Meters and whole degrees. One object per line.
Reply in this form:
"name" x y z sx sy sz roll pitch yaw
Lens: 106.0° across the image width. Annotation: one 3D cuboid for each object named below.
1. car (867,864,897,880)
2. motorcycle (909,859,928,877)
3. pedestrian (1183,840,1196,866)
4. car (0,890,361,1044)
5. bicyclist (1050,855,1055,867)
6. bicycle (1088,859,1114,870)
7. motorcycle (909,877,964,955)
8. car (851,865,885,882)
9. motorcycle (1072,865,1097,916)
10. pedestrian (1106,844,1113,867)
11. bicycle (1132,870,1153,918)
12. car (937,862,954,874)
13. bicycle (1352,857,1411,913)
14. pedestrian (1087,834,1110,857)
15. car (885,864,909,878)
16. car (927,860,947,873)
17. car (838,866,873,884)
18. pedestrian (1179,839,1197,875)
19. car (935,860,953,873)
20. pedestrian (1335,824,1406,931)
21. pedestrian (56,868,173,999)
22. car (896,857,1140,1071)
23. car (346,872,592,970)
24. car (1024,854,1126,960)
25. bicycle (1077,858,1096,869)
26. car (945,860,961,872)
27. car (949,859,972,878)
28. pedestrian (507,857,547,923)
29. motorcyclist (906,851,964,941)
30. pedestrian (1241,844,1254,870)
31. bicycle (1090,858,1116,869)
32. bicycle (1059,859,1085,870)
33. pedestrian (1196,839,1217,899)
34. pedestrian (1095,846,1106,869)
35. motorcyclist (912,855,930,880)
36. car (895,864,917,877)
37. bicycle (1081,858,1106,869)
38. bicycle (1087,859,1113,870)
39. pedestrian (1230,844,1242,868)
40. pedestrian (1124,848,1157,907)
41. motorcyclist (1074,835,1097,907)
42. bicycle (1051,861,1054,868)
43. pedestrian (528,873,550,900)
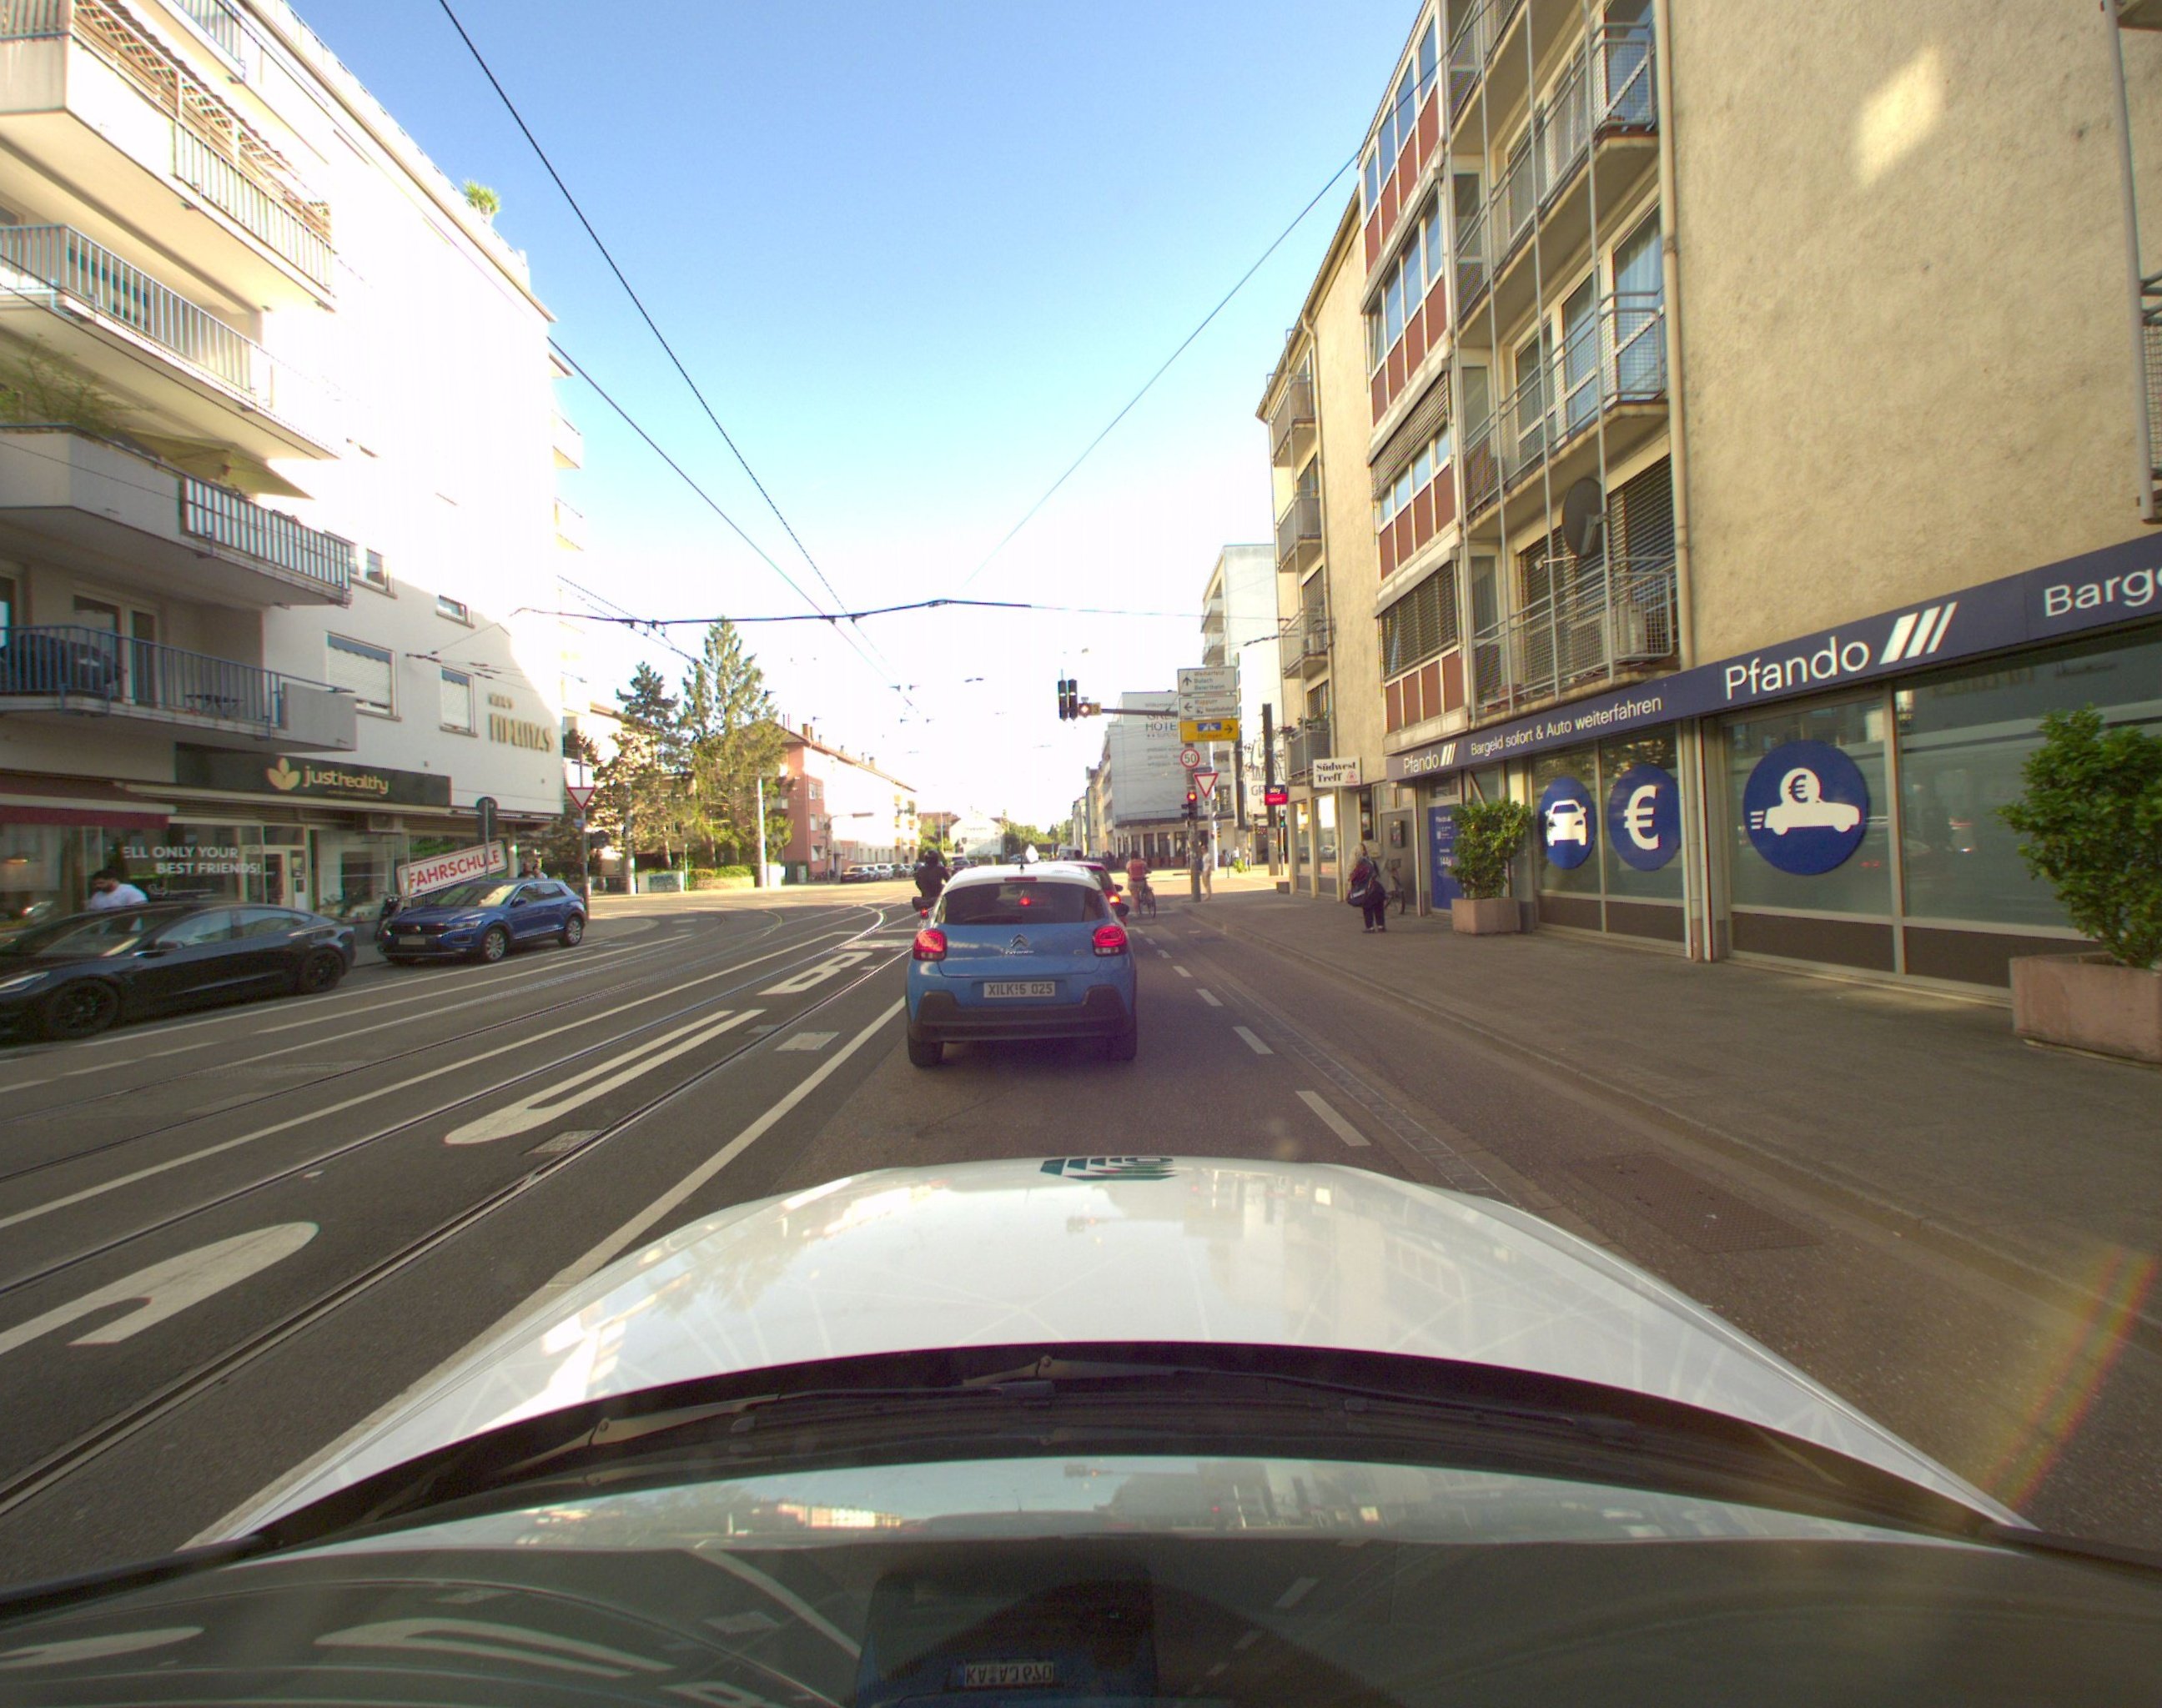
"car" -19.444 1.744 79.770 1.781 1.511 4.150 0 -1 1
"motorcycle" -13.419 1.137 67.337 0.921 1.486 3.724 0 -1 -1
"pedestrian" 8.579 -0.056 64.419 0.750 2.014 0.716 -1 -1 33
"car" -12.097 1.296 10.441 1.816 1.387 4.425 -2 0 -2
"bicyclist" -3.766 0.926 108.139 0.559 1.477 0.747 0 -1 -2
"bicycle" 1.652 0.868 67.169 2.130 0.901 0.366 0 -1 -7
"motorcycle" -2.486 1.030 14.181 0.535 1.219 1.982 0 -1 2
"car" -19.388 1.787 74.318 1.808 1.498 4.302 0 0 2
"motorcycle" 0.107 0.838 19.554 0.524 1.139 2.290 0 -1 2
"pedestrian" 2.480 0.147 70.412 0.575 2.014 0.625 0 -1 -1
"bicycle" 1.546 0.978 20.571 0.426 1.123 1.999 0 -1 2
"car" -19.559 1.996 117.294 1.828 1.687 3.998 0 -1 -1
"bicycle" 5.680 0.570 15.494 0.540 0.998 1.706 0 -1 2
"pedestrian" 1.634 -0.725 73.687 1.986 2.014 4.001 0 -1 2
"car" -19.555 1.775 86.727 1.781 1.498 3.998 0 -1 -1
"car" -18.885 1.681 107.256 1.978 1.687 3.998 0 -1 -1
"car" -19.206 1.783 69.428 1.787 1.421 3.996 0 -1 1
"pedestrian" 6.154 0.174 46.928 0.922 2.014 0.760 0 -1 1
"car" -18.857 1.685 112.039 1.877 1.687 3.998 0 -1 -1
"pedestrian" 4.446 0.349 12.547 0.822 1.593 0.751 0 -1 1
"pedestrian" -13.869 1.106 11.708 0.689 1.803 0.812 0 -1 1
"car" -0.373 0.763 7.290 1.648 1.444 3.524 0 -1 2
"car" -11.905 1.212 16.264 1.864 1.531 4.068 -2 0 -2
"car" -0.040 0.781 13.215 1.419 1.467 2.925 -2 -1 2
"bicycle" 0.442 0.824 69.570 1.765 0.901 0.369 -1 -1 36
"car" -19.155 1.767 121.919 1.841 1.687 3.872 0 -1 -1
"car" -11.350 1.345 76.909 1.770 1.666 3.854 0 -1 -2
"pedestrian" -17.298 1.103 25.445 0.767 2.014 0.694 0 -1 -4
"motorcyclist" -2.505 0.714 14.008 0.857 1.505 0.598 0 -1 1
"pedestrian" 10.876 0.192 53.165 0.746 1.657 0.887 -1 -1 15
"bicycle" 1.789 0.773 66.042 2.130 0.901 0.366 0 -1 -7
"bicycle" -0.713 0.880 66.440 2.130 0.901 0.366 0 -1 -7
"pedestrian" 3.757 0.443 24.386 0.515 1.783 0.595 0 -1 0
"pedestrian" 1.663 0.300 69.319 0.635 2.014 0.717 0 -1 -34
"motorcyclist" -13.336 1.104 67.803 1.182 2.013 1.275 -2 0 -1
"car" -19.943 1.853 92.843 1.728 1.498 3.996 0 -1 -2
"bicycle" 1.056 0.822 68.456 2.130 0.901 0.366 0 -1 -7
"bicycle" 1.609 0.860 67.573 2.130 0.901 0.366 0 -1 -7
"pedestrian" 10.563 0.138 55.450 0.730 1.601 0.751 -1 -1 15
"pedestrian" 1.473 0.582 20.342 0.774 1.460 0.682 0 -1 1
"motorcyclist" 0.114 0.405 19.746 0.524 1.716 0.717 0 -1 2
"bicycle" -3.776 1.344 108.621 0.347 0.903 1.859 0 -1 0
"pedestrian" -36.378 2.185 54.673 0.896 1.791 0.808 0 -1 6
